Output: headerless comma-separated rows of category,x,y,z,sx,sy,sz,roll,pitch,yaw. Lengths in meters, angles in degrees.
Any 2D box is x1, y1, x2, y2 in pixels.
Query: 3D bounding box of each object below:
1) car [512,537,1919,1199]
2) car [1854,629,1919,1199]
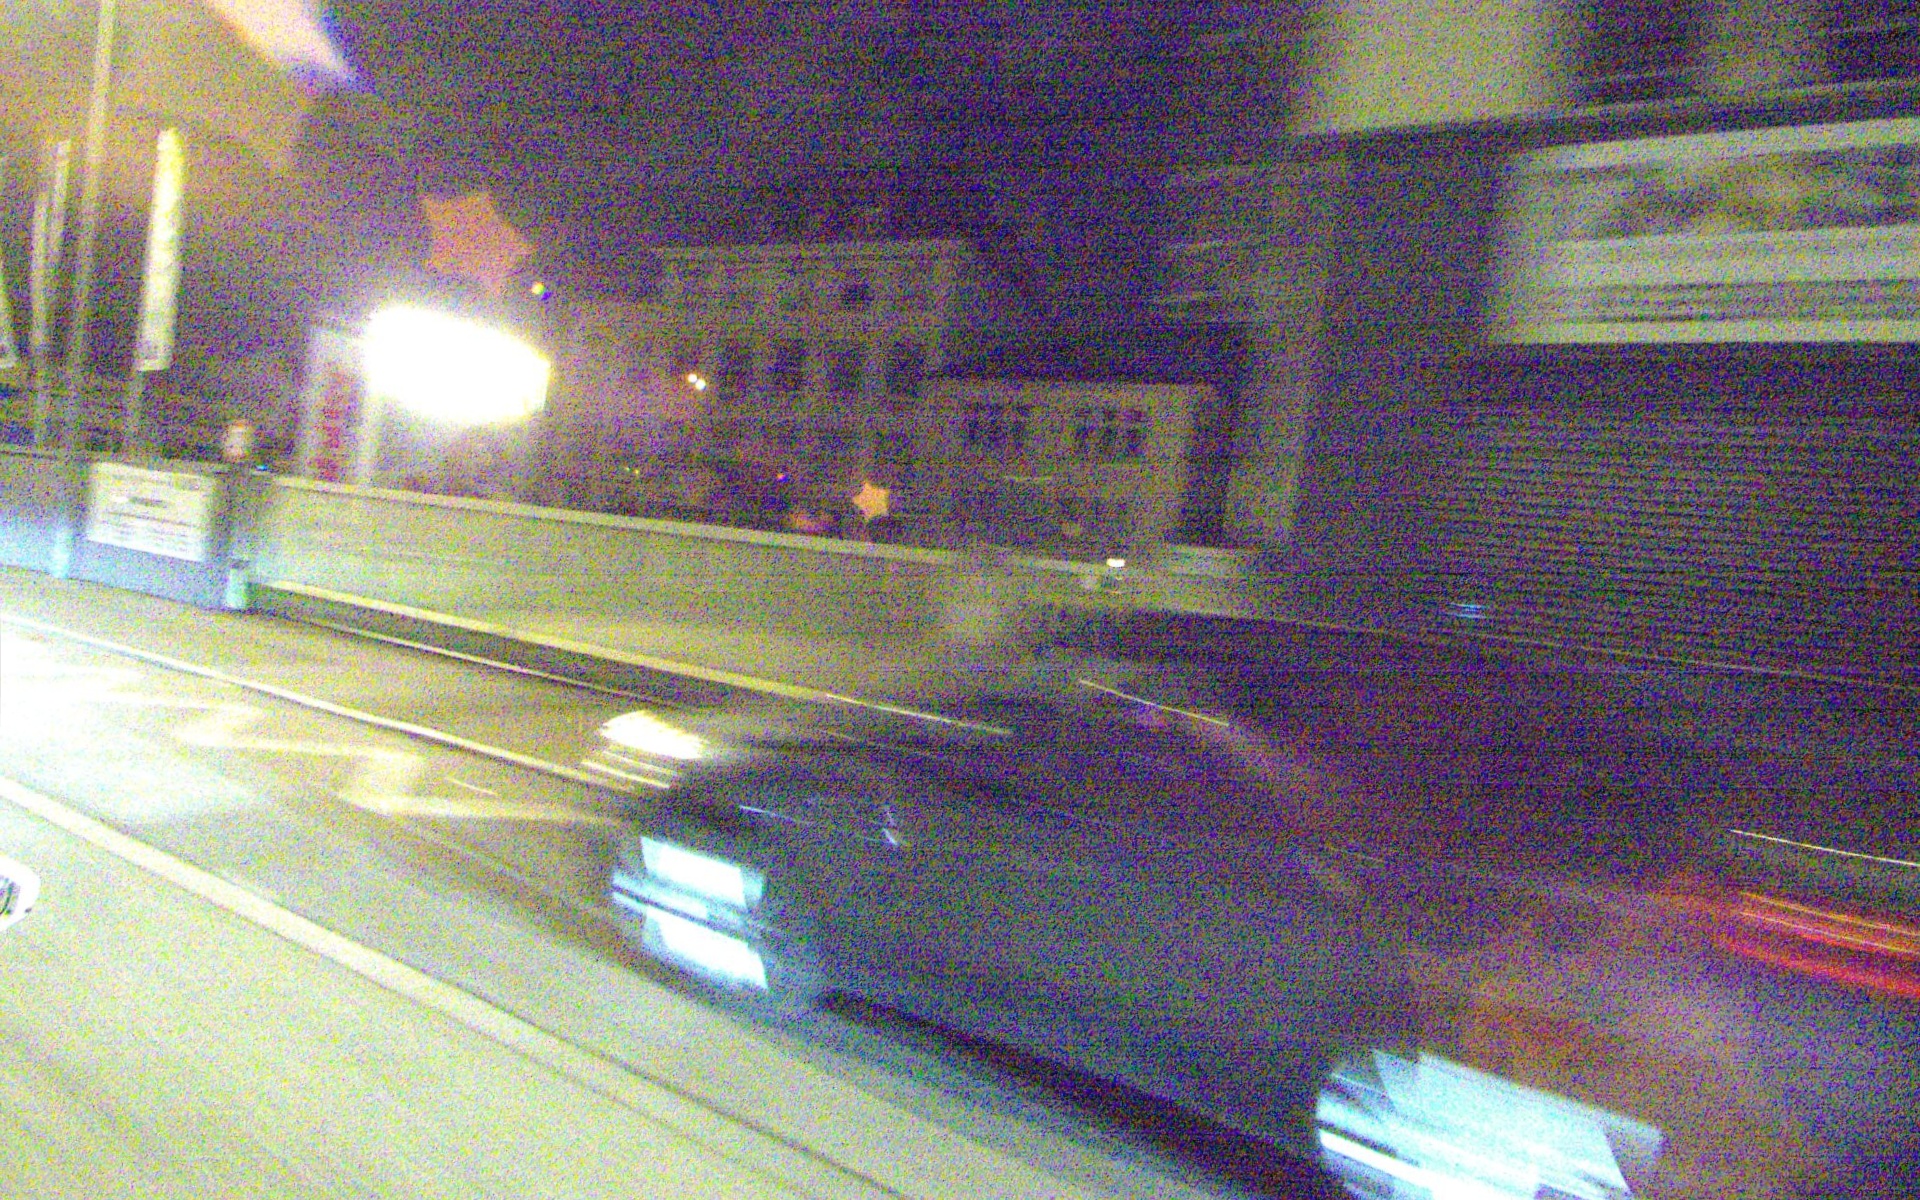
car,0.522,0.785,3.872,4.146,1.620,1.821,6,2,27
car,5.094,1.128,1.365,5.278,1.953,2.074,6,1,29
